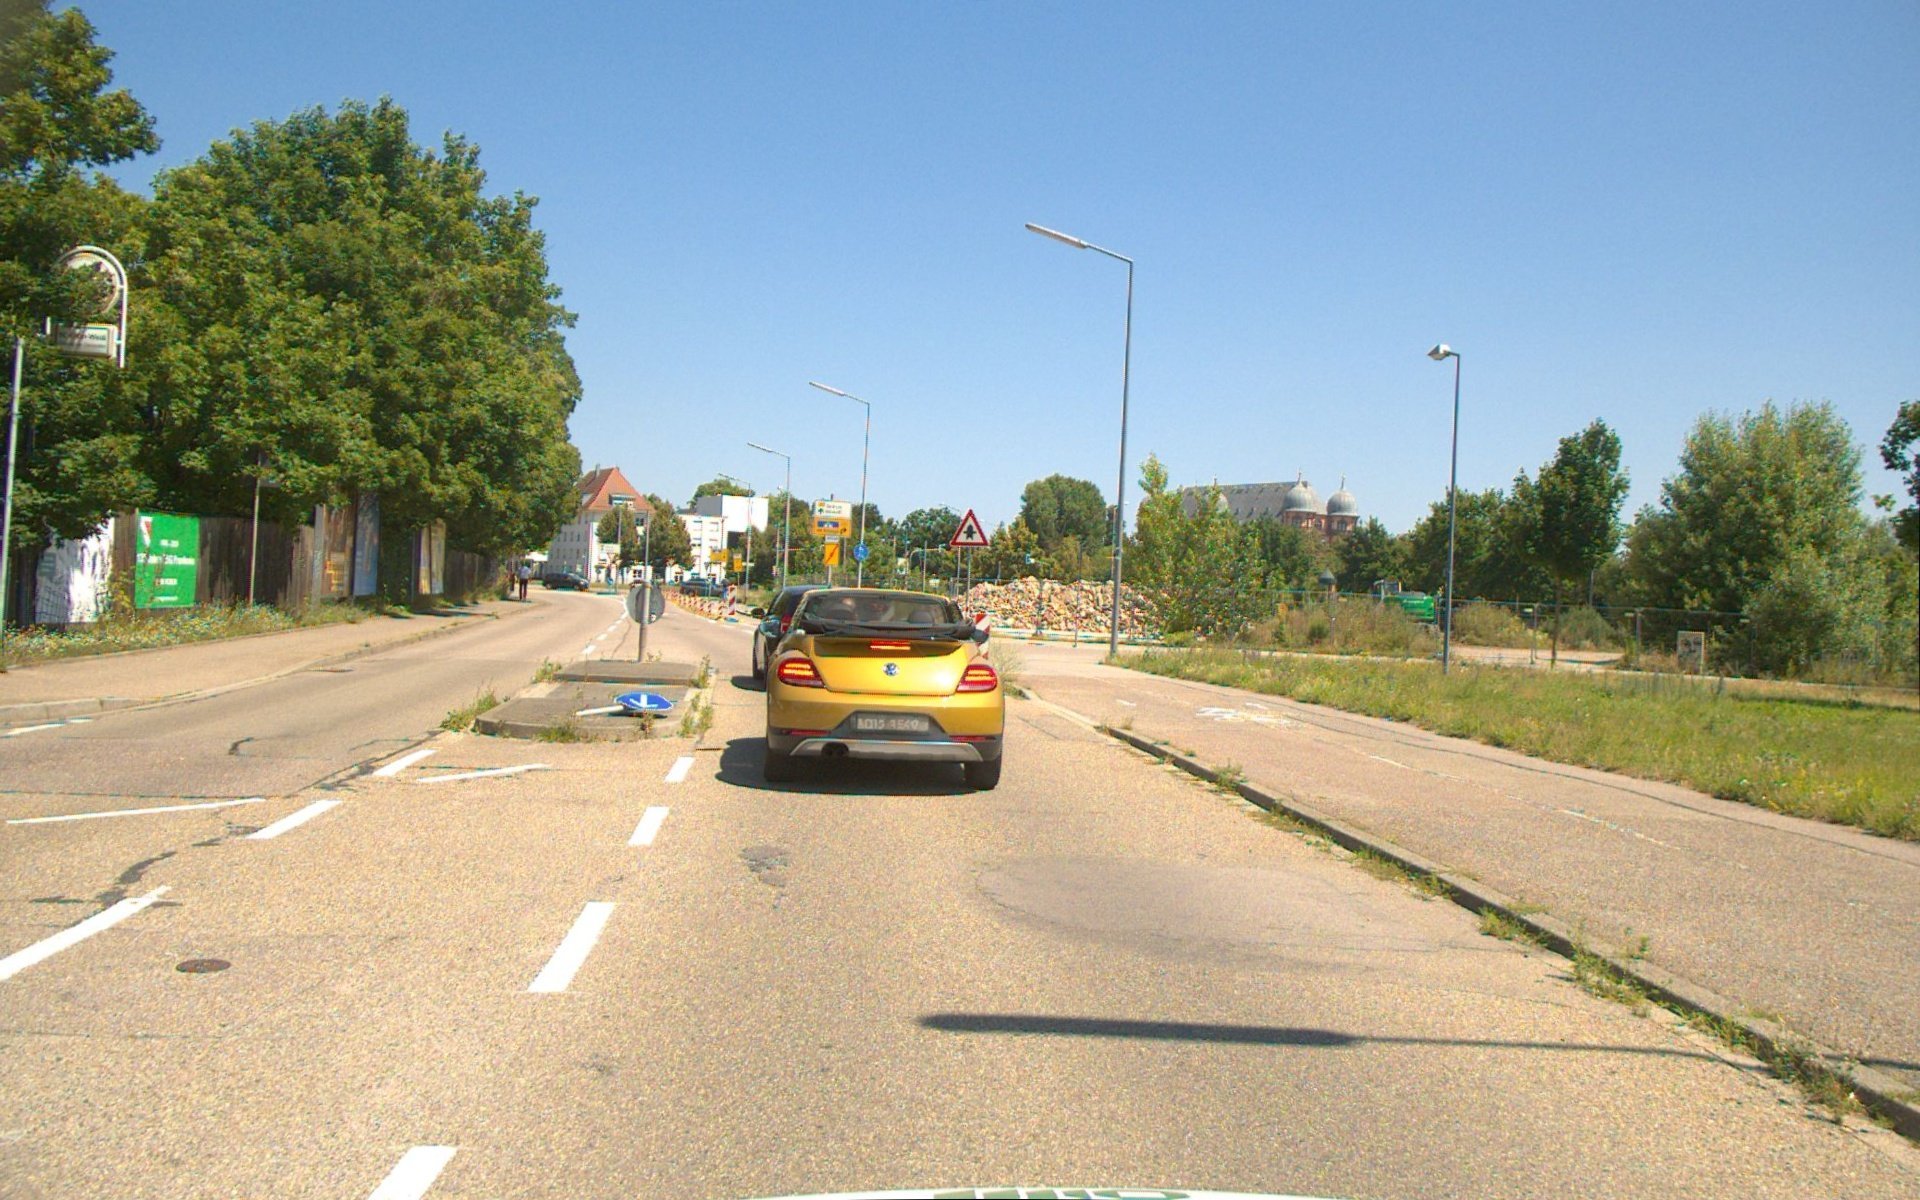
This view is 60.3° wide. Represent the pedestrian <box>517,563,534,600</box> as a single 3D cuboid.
[{"bbox_3d":[-21.215,-0.906,80.709,0.711,1.755,0.814,2,0,-16],"label":"pedestrian"}]

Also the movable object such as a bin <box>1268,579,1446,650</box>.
[{"bbox_3d":[20.630,0.690,86.938,4.855,3.317,10.433,3,0,-13],"label":"movable object such as a bin"}]

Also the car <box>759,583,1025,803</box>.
[{"bbox_3d":[-0.691,0.636,13.358,1.756,1.461,3.807,2,0,-8],"label":"car"}]

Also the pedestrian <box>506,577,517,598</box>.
[{"bbox_3d":[-32.006,-0.894,118.084,0.711,1.479,0.814,2,0,-16],"label":"pedestrian"}]

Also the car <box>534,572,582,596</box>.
[{"bbox_3d":[-37.434,-1.460,154.133,3.908,2.049,1.999,2,0,-4],"label":"car"}]

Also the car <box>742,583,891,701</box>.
[{"bbox_3d":[-2.120,0.539,23.510,1.695,1.468,3.990,2,0,-10],"label":"car"}]
